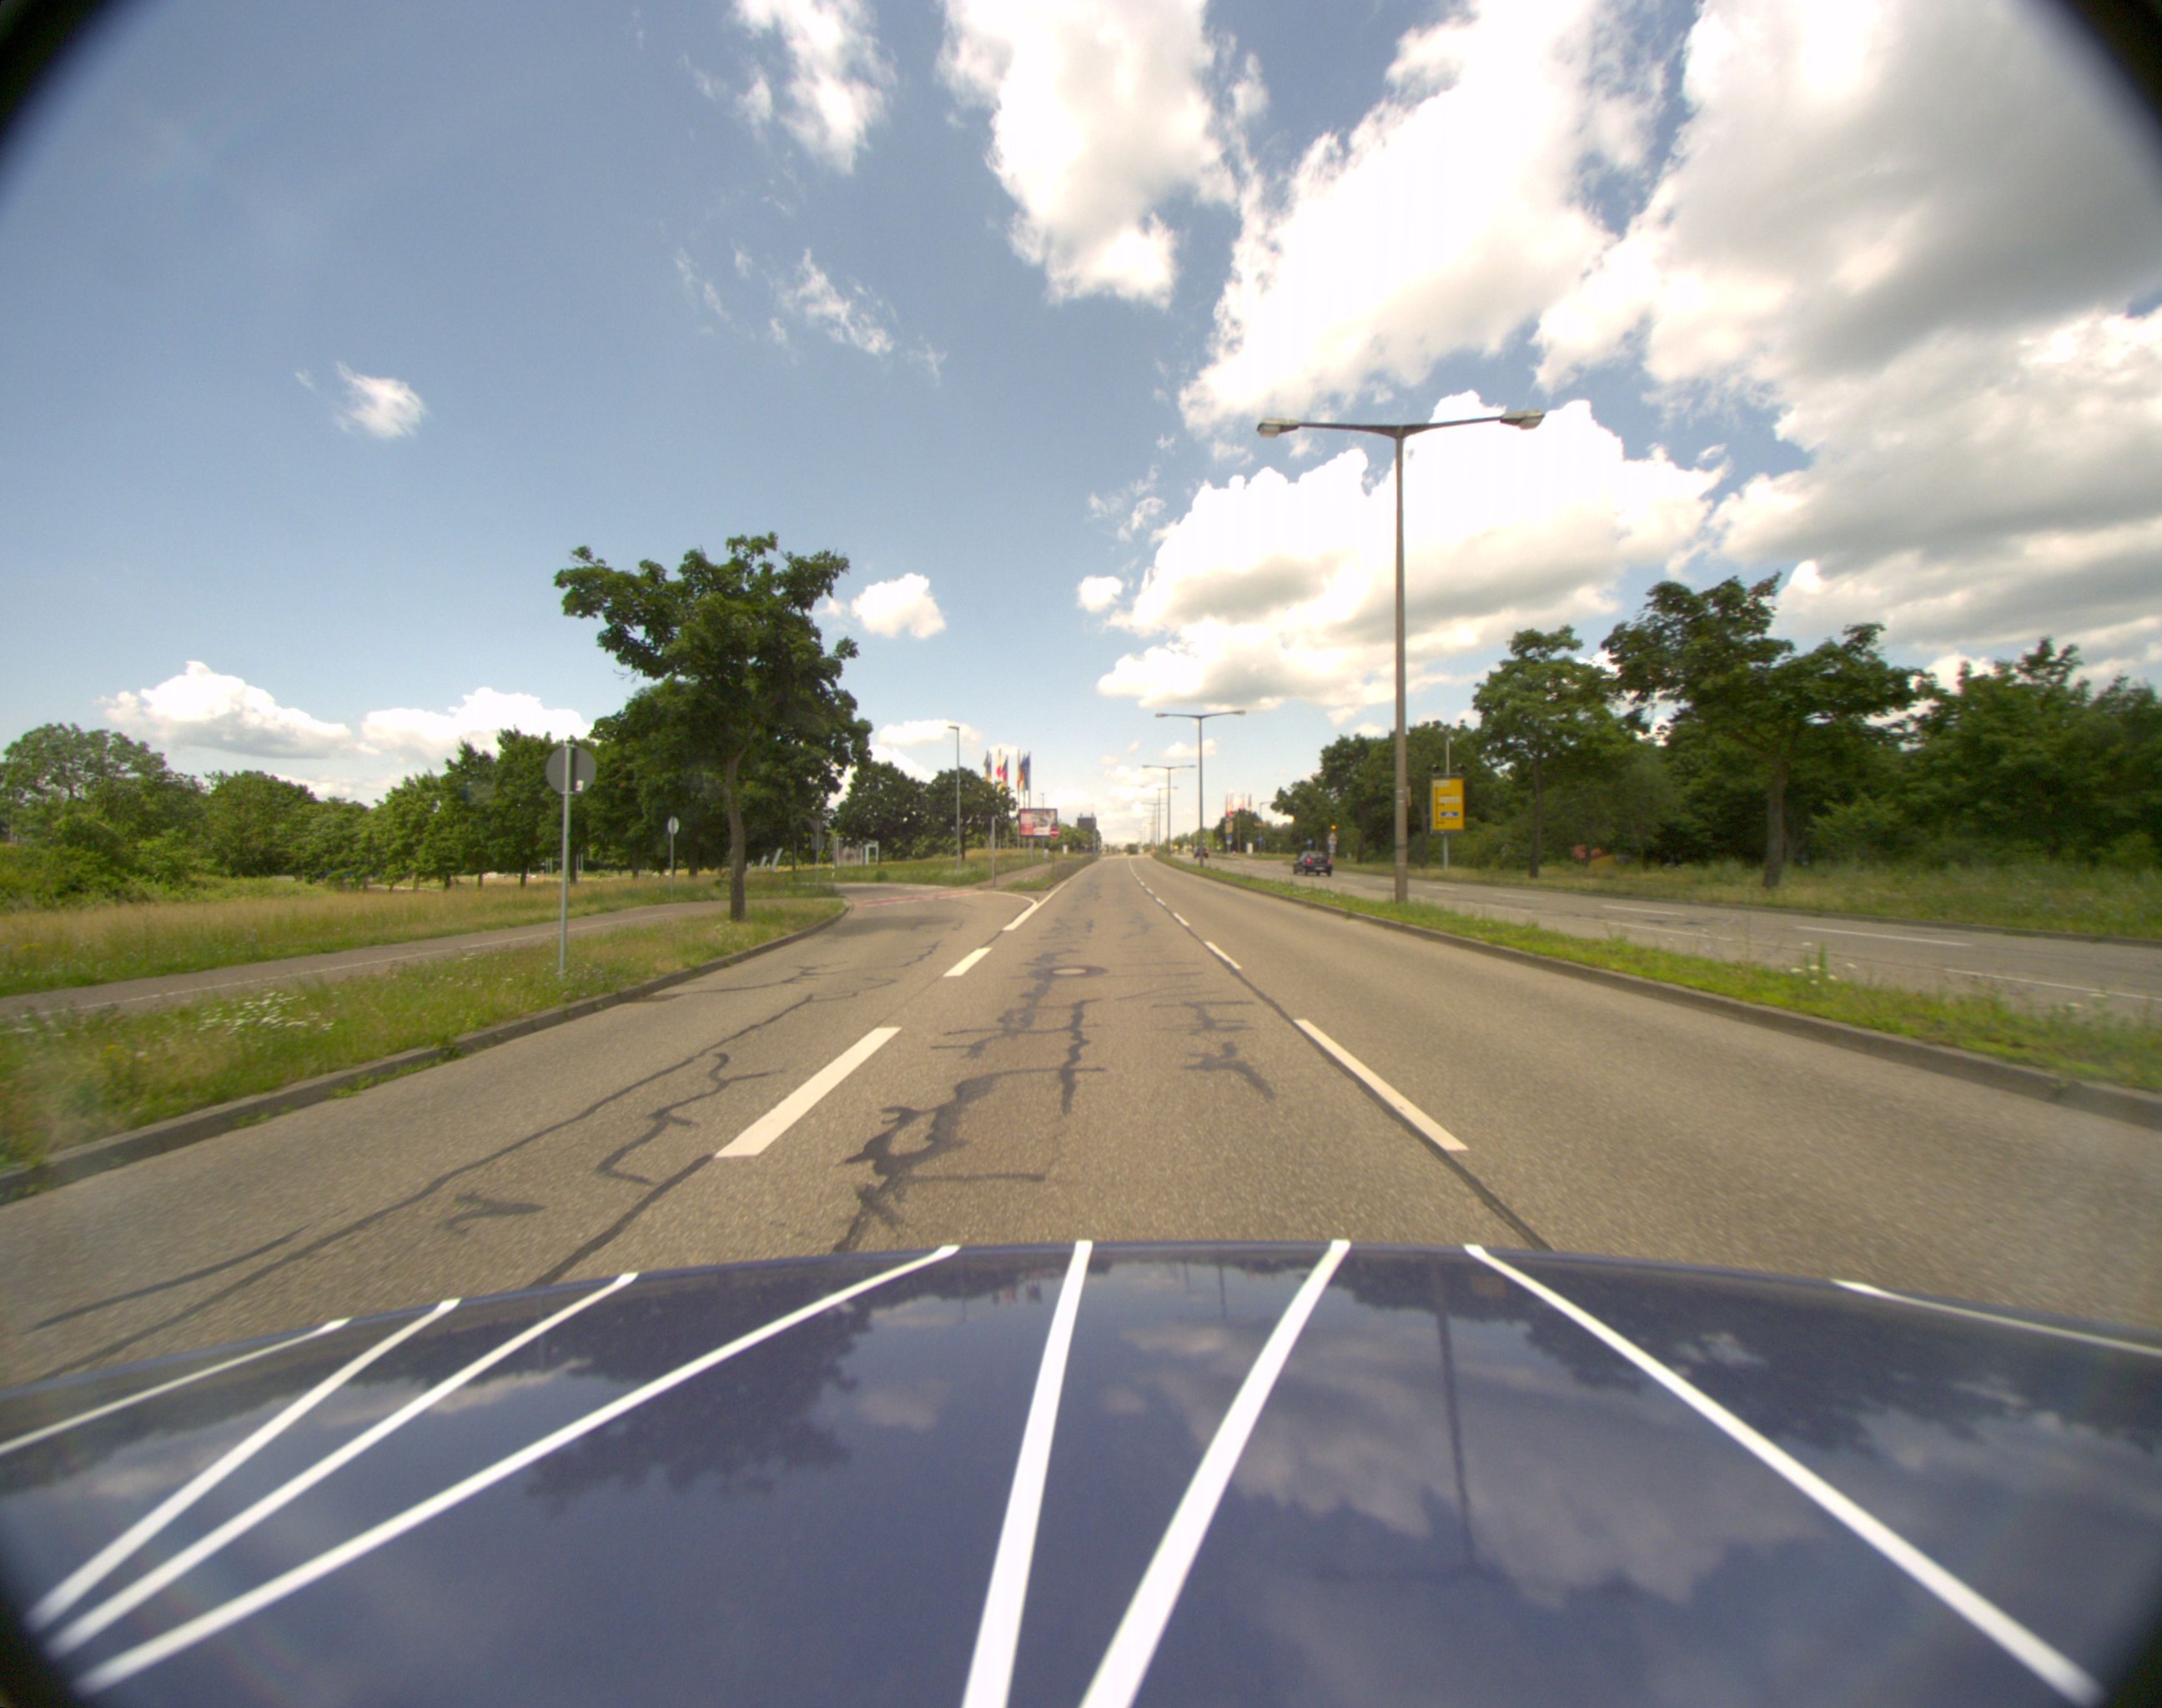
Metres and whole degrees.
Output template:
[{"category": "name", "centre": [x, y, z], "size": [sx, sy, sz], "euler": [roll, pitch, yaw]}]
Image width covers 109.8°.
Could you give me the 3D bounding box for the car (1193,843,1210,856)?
[{"category": "car", "centre": [17.837, -0.663, 112.447], "size": [1.881, 1.780, 4.728], "euler": [1, 1, 2]}]

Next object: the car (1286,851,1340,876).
[{"category": "car", "centre": [13.870, 0.529, 45.591], "size": [1.706, 1.419, 3.672], "euler": [-1, 1, -8]}]

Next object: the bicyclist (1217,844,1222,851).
[{"category": "bicyclist", "centre": [24.298, -1.124, 133.268], "size": [0.522, 1.265, 1.107], "euler": [-2, 0, 1]}]
